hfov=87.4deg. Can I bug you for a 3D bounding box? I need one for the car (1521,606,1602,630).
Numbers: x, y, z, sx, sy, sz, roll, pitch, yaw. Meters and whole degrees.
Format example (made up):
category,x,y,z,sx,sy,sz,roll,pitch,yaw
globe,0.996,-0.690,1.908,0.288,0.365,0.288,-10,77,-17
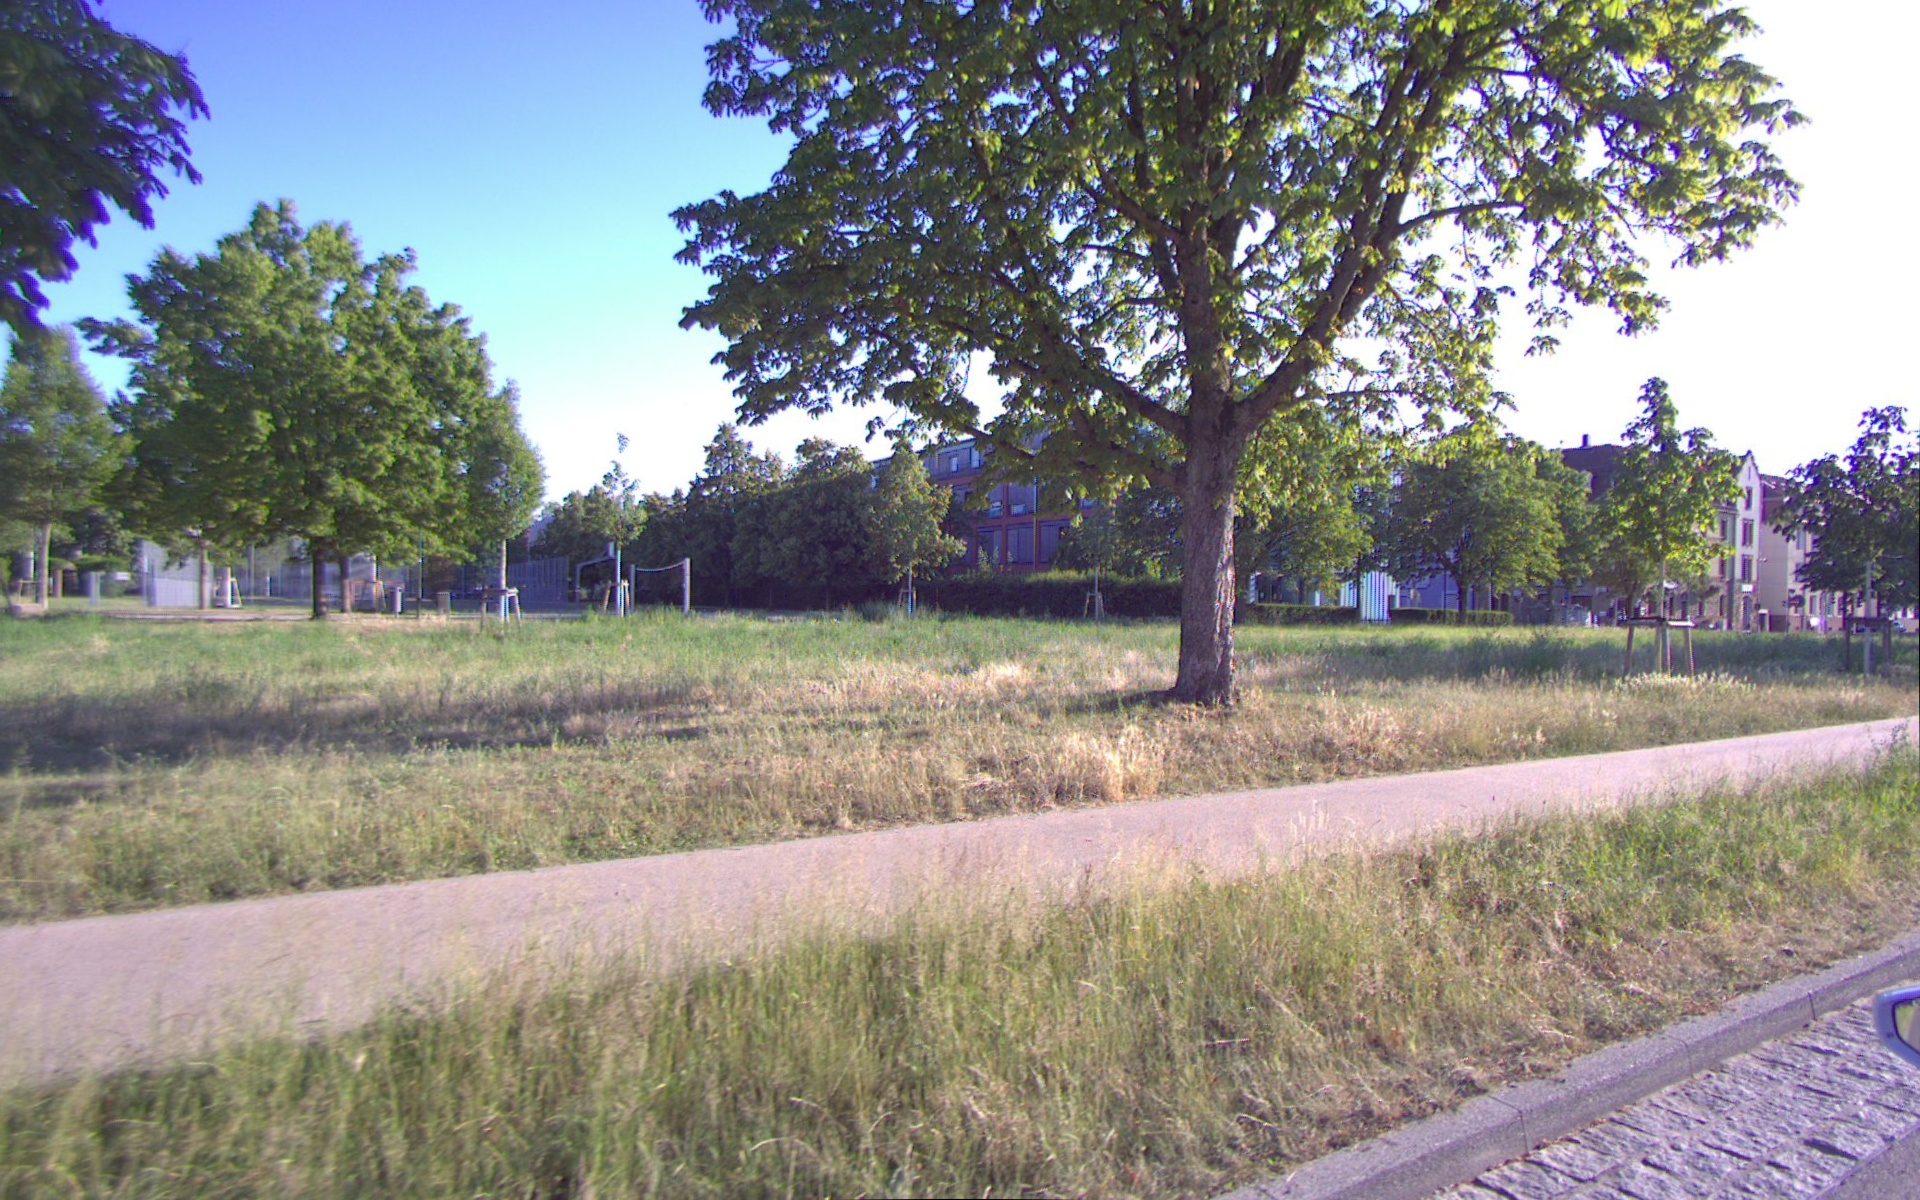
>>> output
category,x,y,z,sx,sy,sz,roll,pitch,yaw
car,43.480,1.290,72.690,1.799,1.453,4.728,3,0,-38
